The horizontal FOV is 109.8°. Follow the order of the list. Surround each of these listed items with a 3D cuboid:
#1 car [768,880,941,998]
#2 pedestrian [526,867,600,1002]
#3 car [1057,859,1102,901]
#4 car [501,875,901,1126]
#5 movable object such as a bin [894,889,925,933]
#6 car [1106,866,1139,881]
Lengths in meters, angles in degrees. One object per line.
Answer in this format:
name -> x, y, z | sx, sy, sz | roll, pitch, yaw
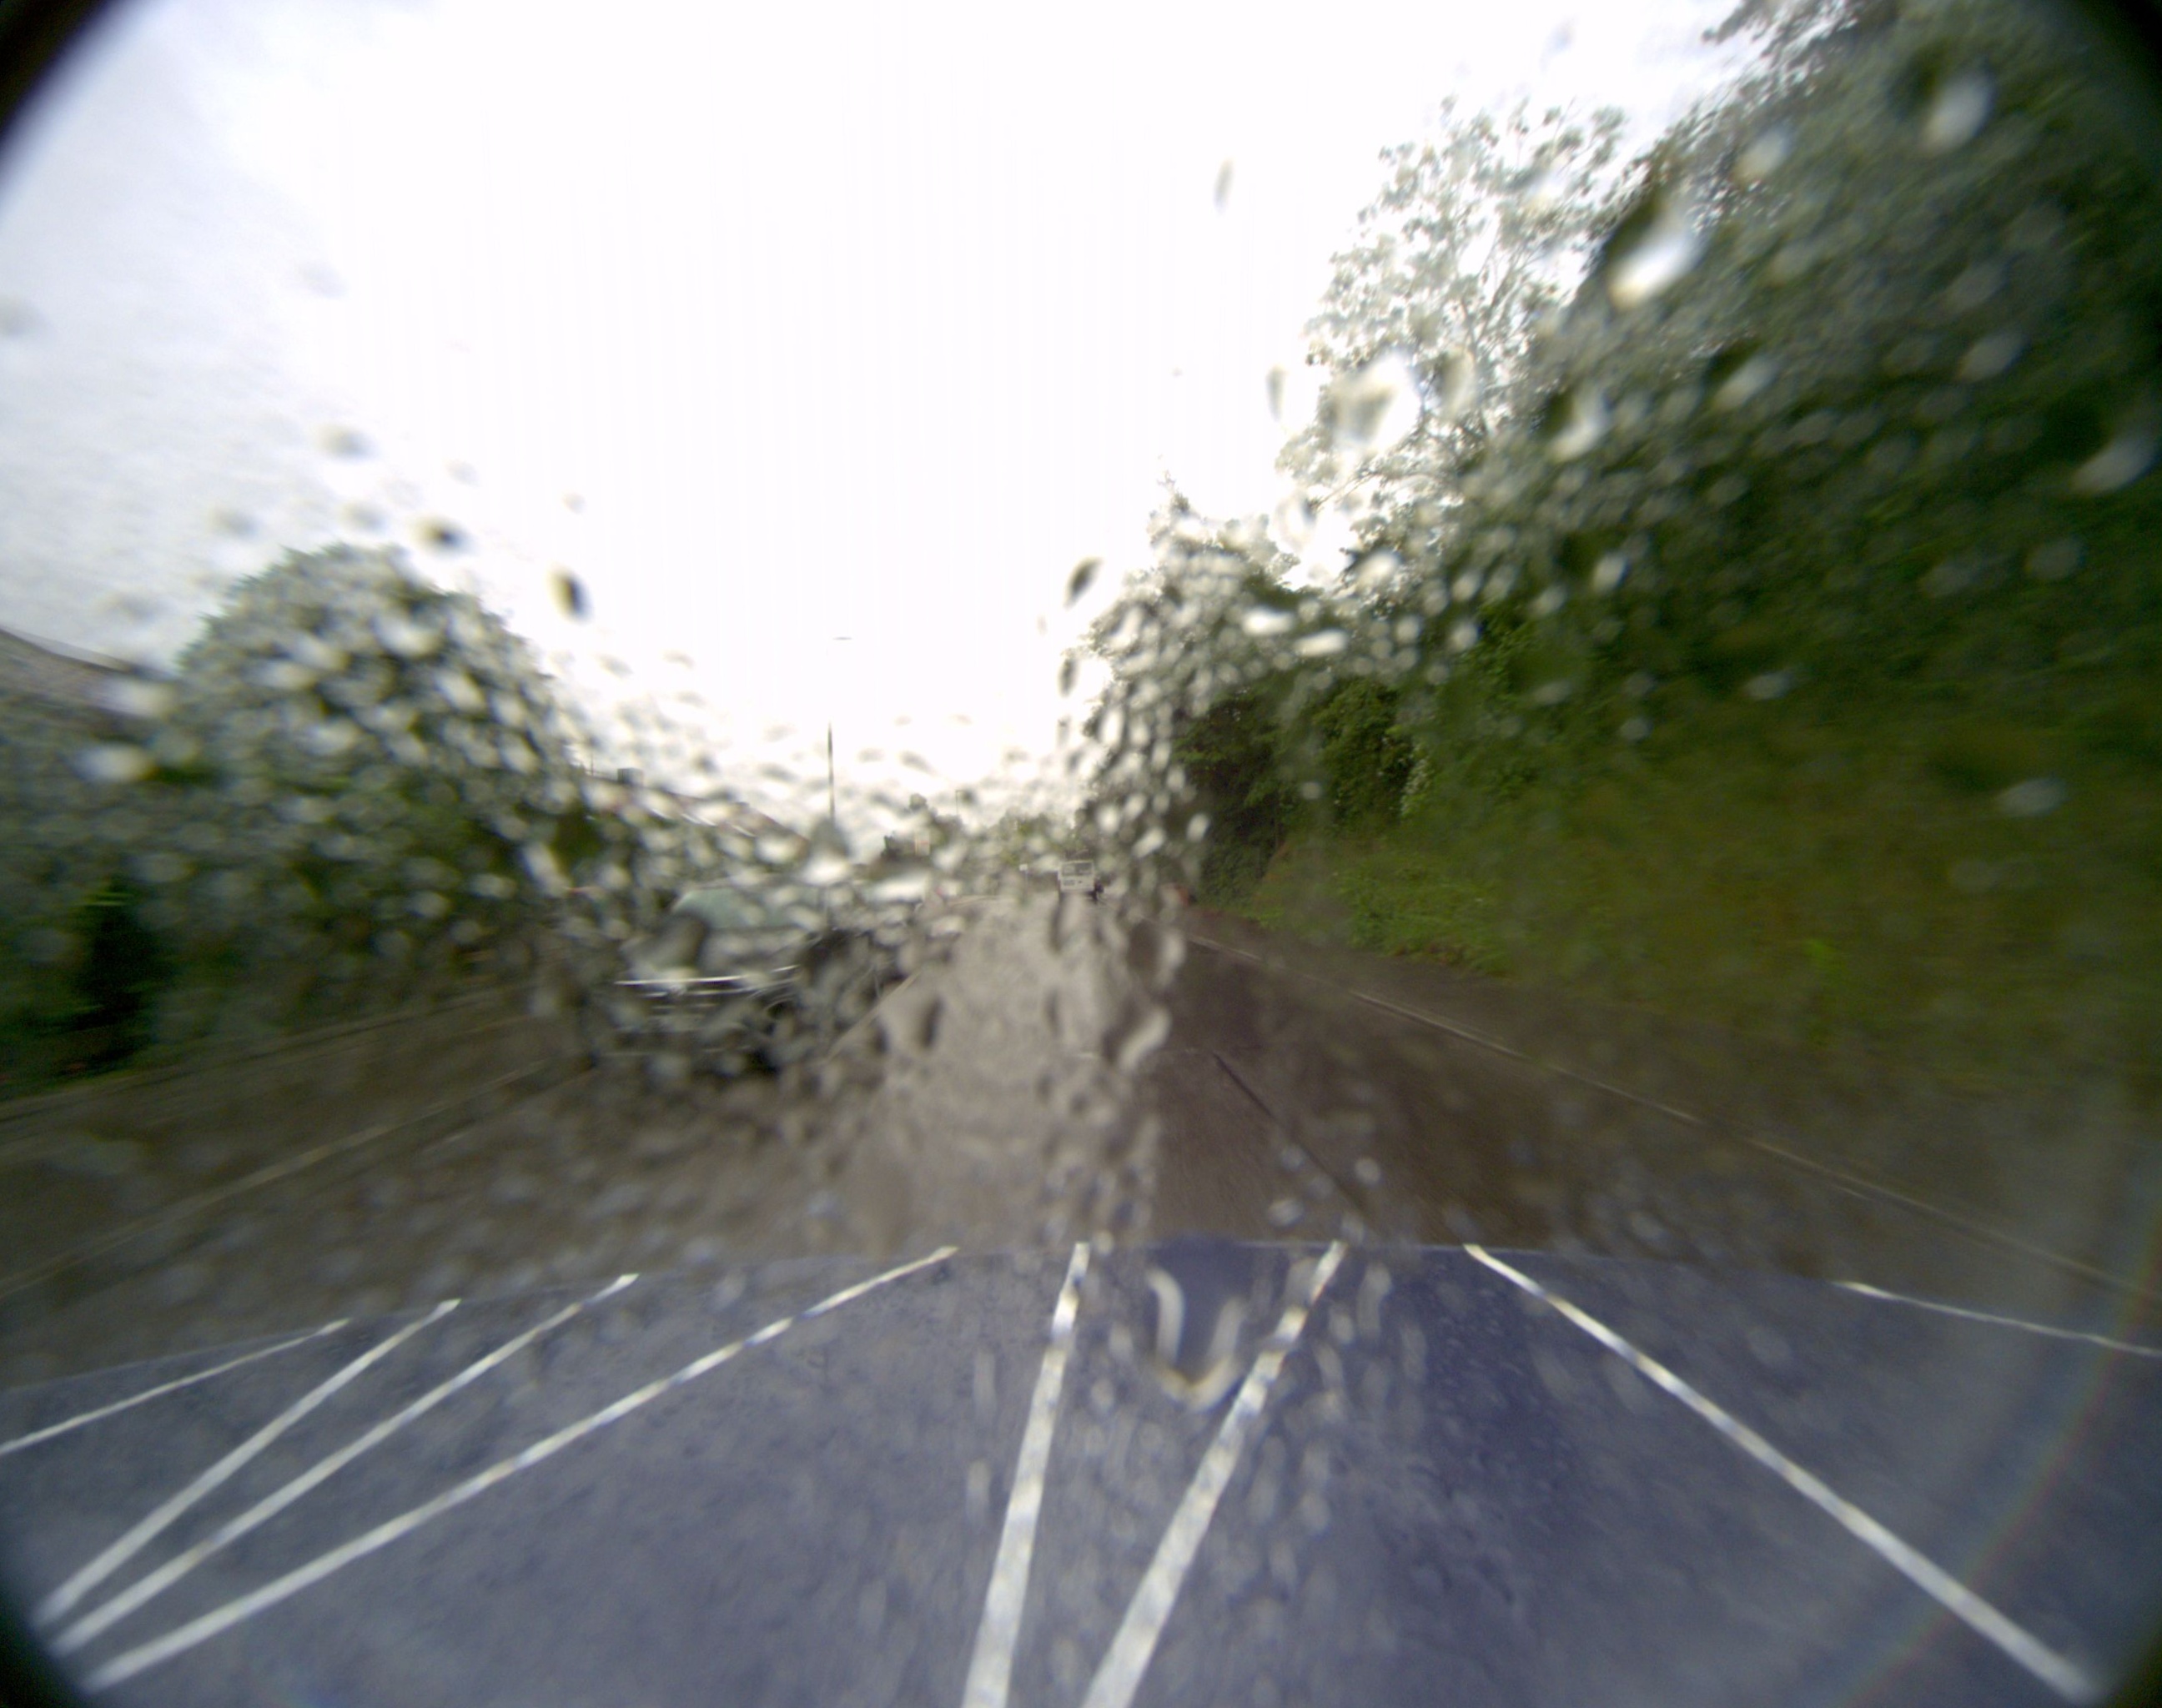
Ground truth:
car -> -3.466, 1.229, 12.477 | 1.761, 1.453, 4.300 | -3, -1, -4
pedestrian -> -6.483, 0.989, 9.531 | 0.537, 1.623, 0.506 | -3, -1, -6
car -> -0.107, 1.335, 39.828 | 2.117, 1.962, 5.173 | -2, -1, -1
car -> -3.104, 1.051, 7.423 | 1.880, 1.582, 4.478 | -2, -1, -4
movable object such as a bin -> -4.574, 1.511, 20.288 | 0.717, 1.089, 0.656 | -3, -1, -8
car -> 4.497, 2.080, 81.226 | 1.797, 1.460, 4.223 | -3, -1, 28
